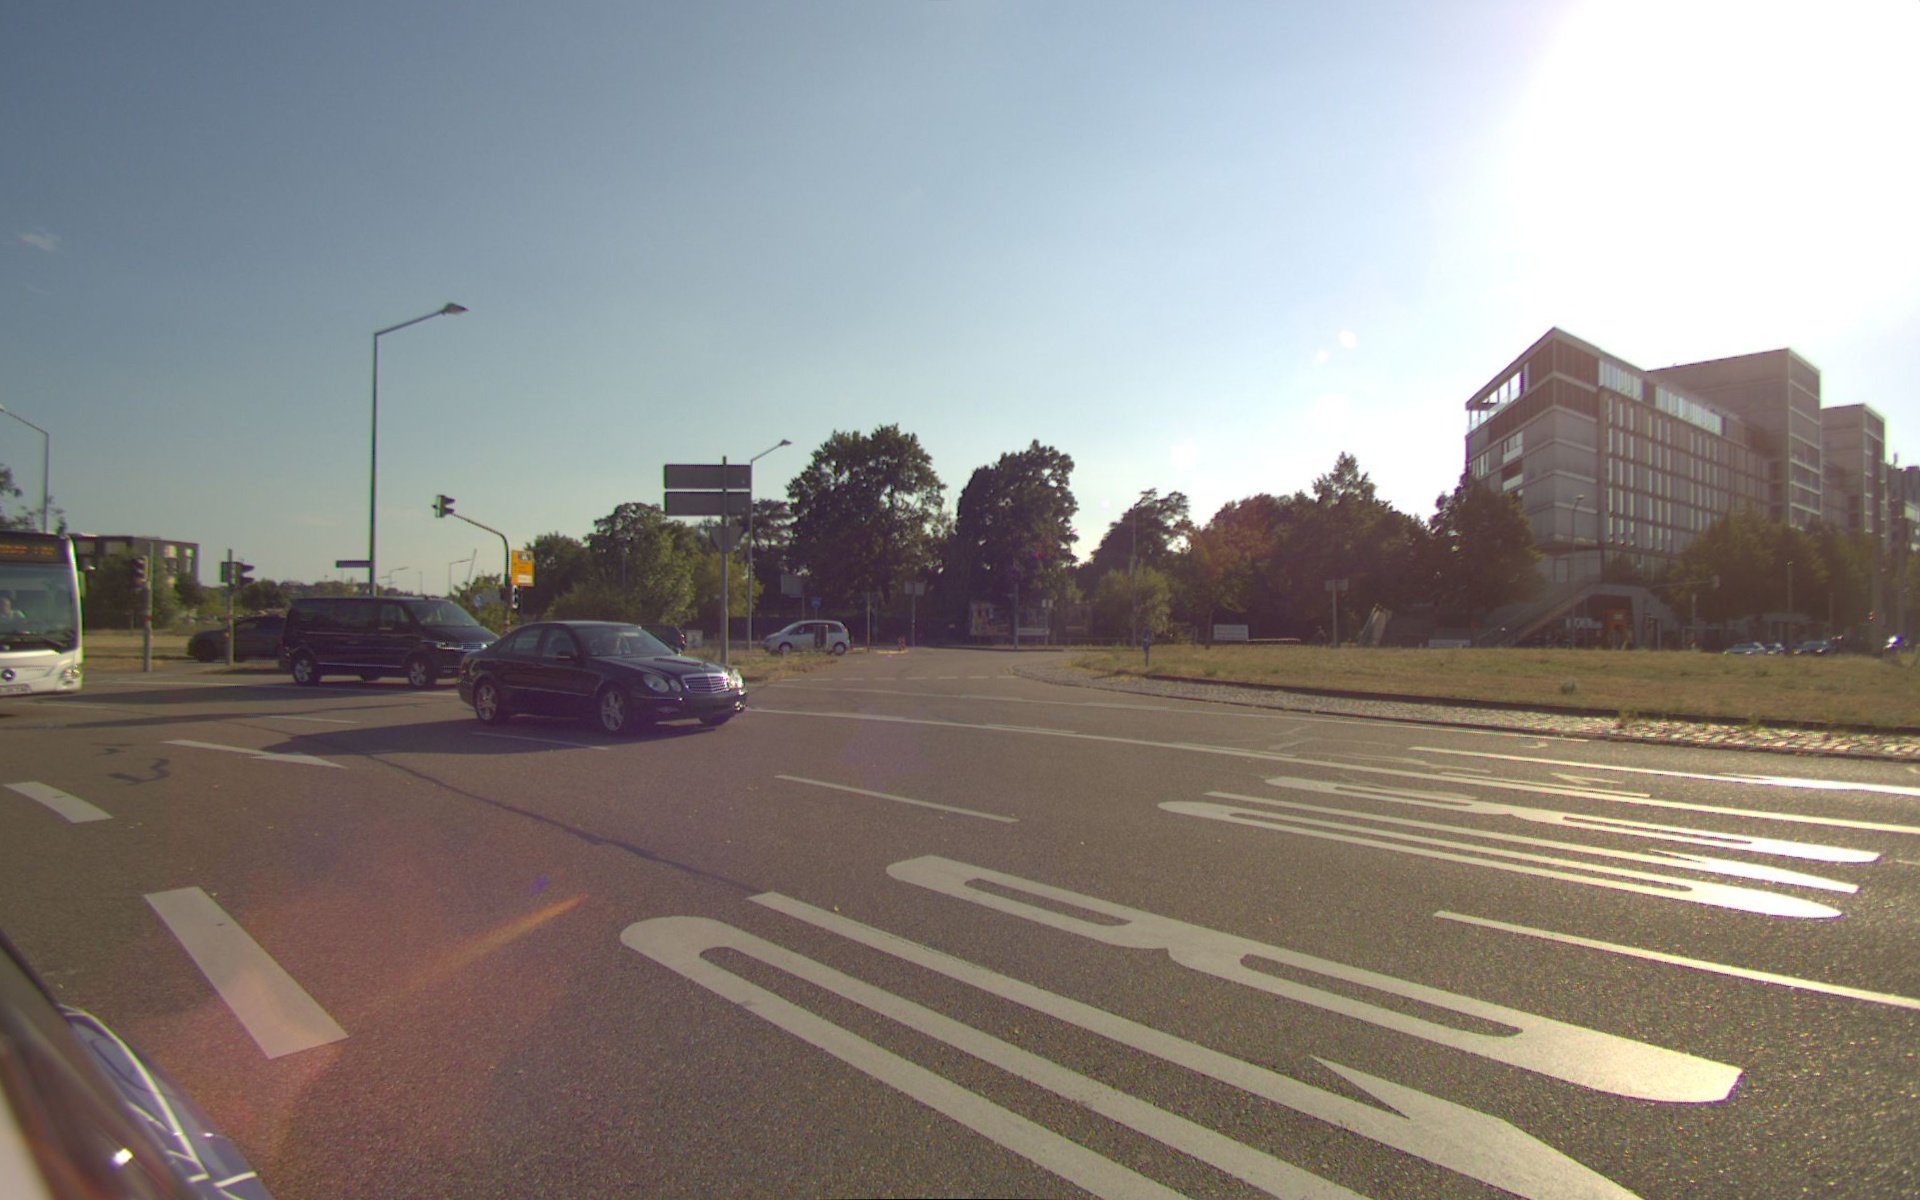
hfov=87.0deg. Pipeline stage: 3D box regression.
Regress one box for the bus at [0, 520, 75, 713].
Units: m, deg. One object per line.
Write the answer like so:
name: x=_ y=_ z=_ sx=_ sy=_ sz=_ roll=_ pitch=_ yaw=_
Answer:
bus: x=-20.885 y=0.268 z=17.373 sx=11.609 sy=3.066 sz=2.584 roll=0 pitch=0 yaw=15

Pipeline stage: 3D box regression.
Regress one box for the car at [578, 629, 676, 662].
car: x=-14.116 y=1.911 z=42.898 sx=3.764 sy=1.359 sz=1.486 roll=1 pitch=-2 yaw=-25

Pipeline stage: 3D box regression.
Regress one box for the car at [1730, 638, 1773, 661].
car: x=54.820 y=3.405 z=70.084 sx=3.245 sy=1.487 sz=1.488 roll=2 pitch=-2 yaw=-36

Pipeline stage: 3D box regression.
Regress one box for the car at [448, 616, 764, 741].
car: x=-4.927 y=0.952 z=13.855 sx=4.482 sy=1.447 sz=1.791 roll=-1 pitch=-1 yaw=34

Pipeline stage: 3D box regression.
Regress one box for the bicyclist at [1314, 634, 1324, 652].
bicyclist: x=25.997 y=3.119 z=73.355 sx=0.649 sy=1.336 sz=0.516 roll=-1 pitch=-2 yaw=18

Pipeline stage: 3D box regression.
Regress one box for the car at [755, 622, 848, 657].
car: x=-7.230 y=1.777 z=46.170 sx=3.875 sy=1.537 sz=1.662 roll=1 pitch=-2 yaw=-28

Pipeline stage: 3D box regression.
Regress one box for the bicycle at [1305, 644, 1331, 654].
bicycle: x=25.939 y=3.558 z=73.325 sx=1.708 sy=0.750 sz=0.477 roll=-1 pitch=-2 yaw=19

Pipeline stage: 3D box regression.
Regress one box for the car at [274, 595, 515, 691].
car: x=-12.540 y=0.870 z=22.451 sx=4.974 sy=1.946 sz=1.850 roll=0 pitch=0 yaw=19
